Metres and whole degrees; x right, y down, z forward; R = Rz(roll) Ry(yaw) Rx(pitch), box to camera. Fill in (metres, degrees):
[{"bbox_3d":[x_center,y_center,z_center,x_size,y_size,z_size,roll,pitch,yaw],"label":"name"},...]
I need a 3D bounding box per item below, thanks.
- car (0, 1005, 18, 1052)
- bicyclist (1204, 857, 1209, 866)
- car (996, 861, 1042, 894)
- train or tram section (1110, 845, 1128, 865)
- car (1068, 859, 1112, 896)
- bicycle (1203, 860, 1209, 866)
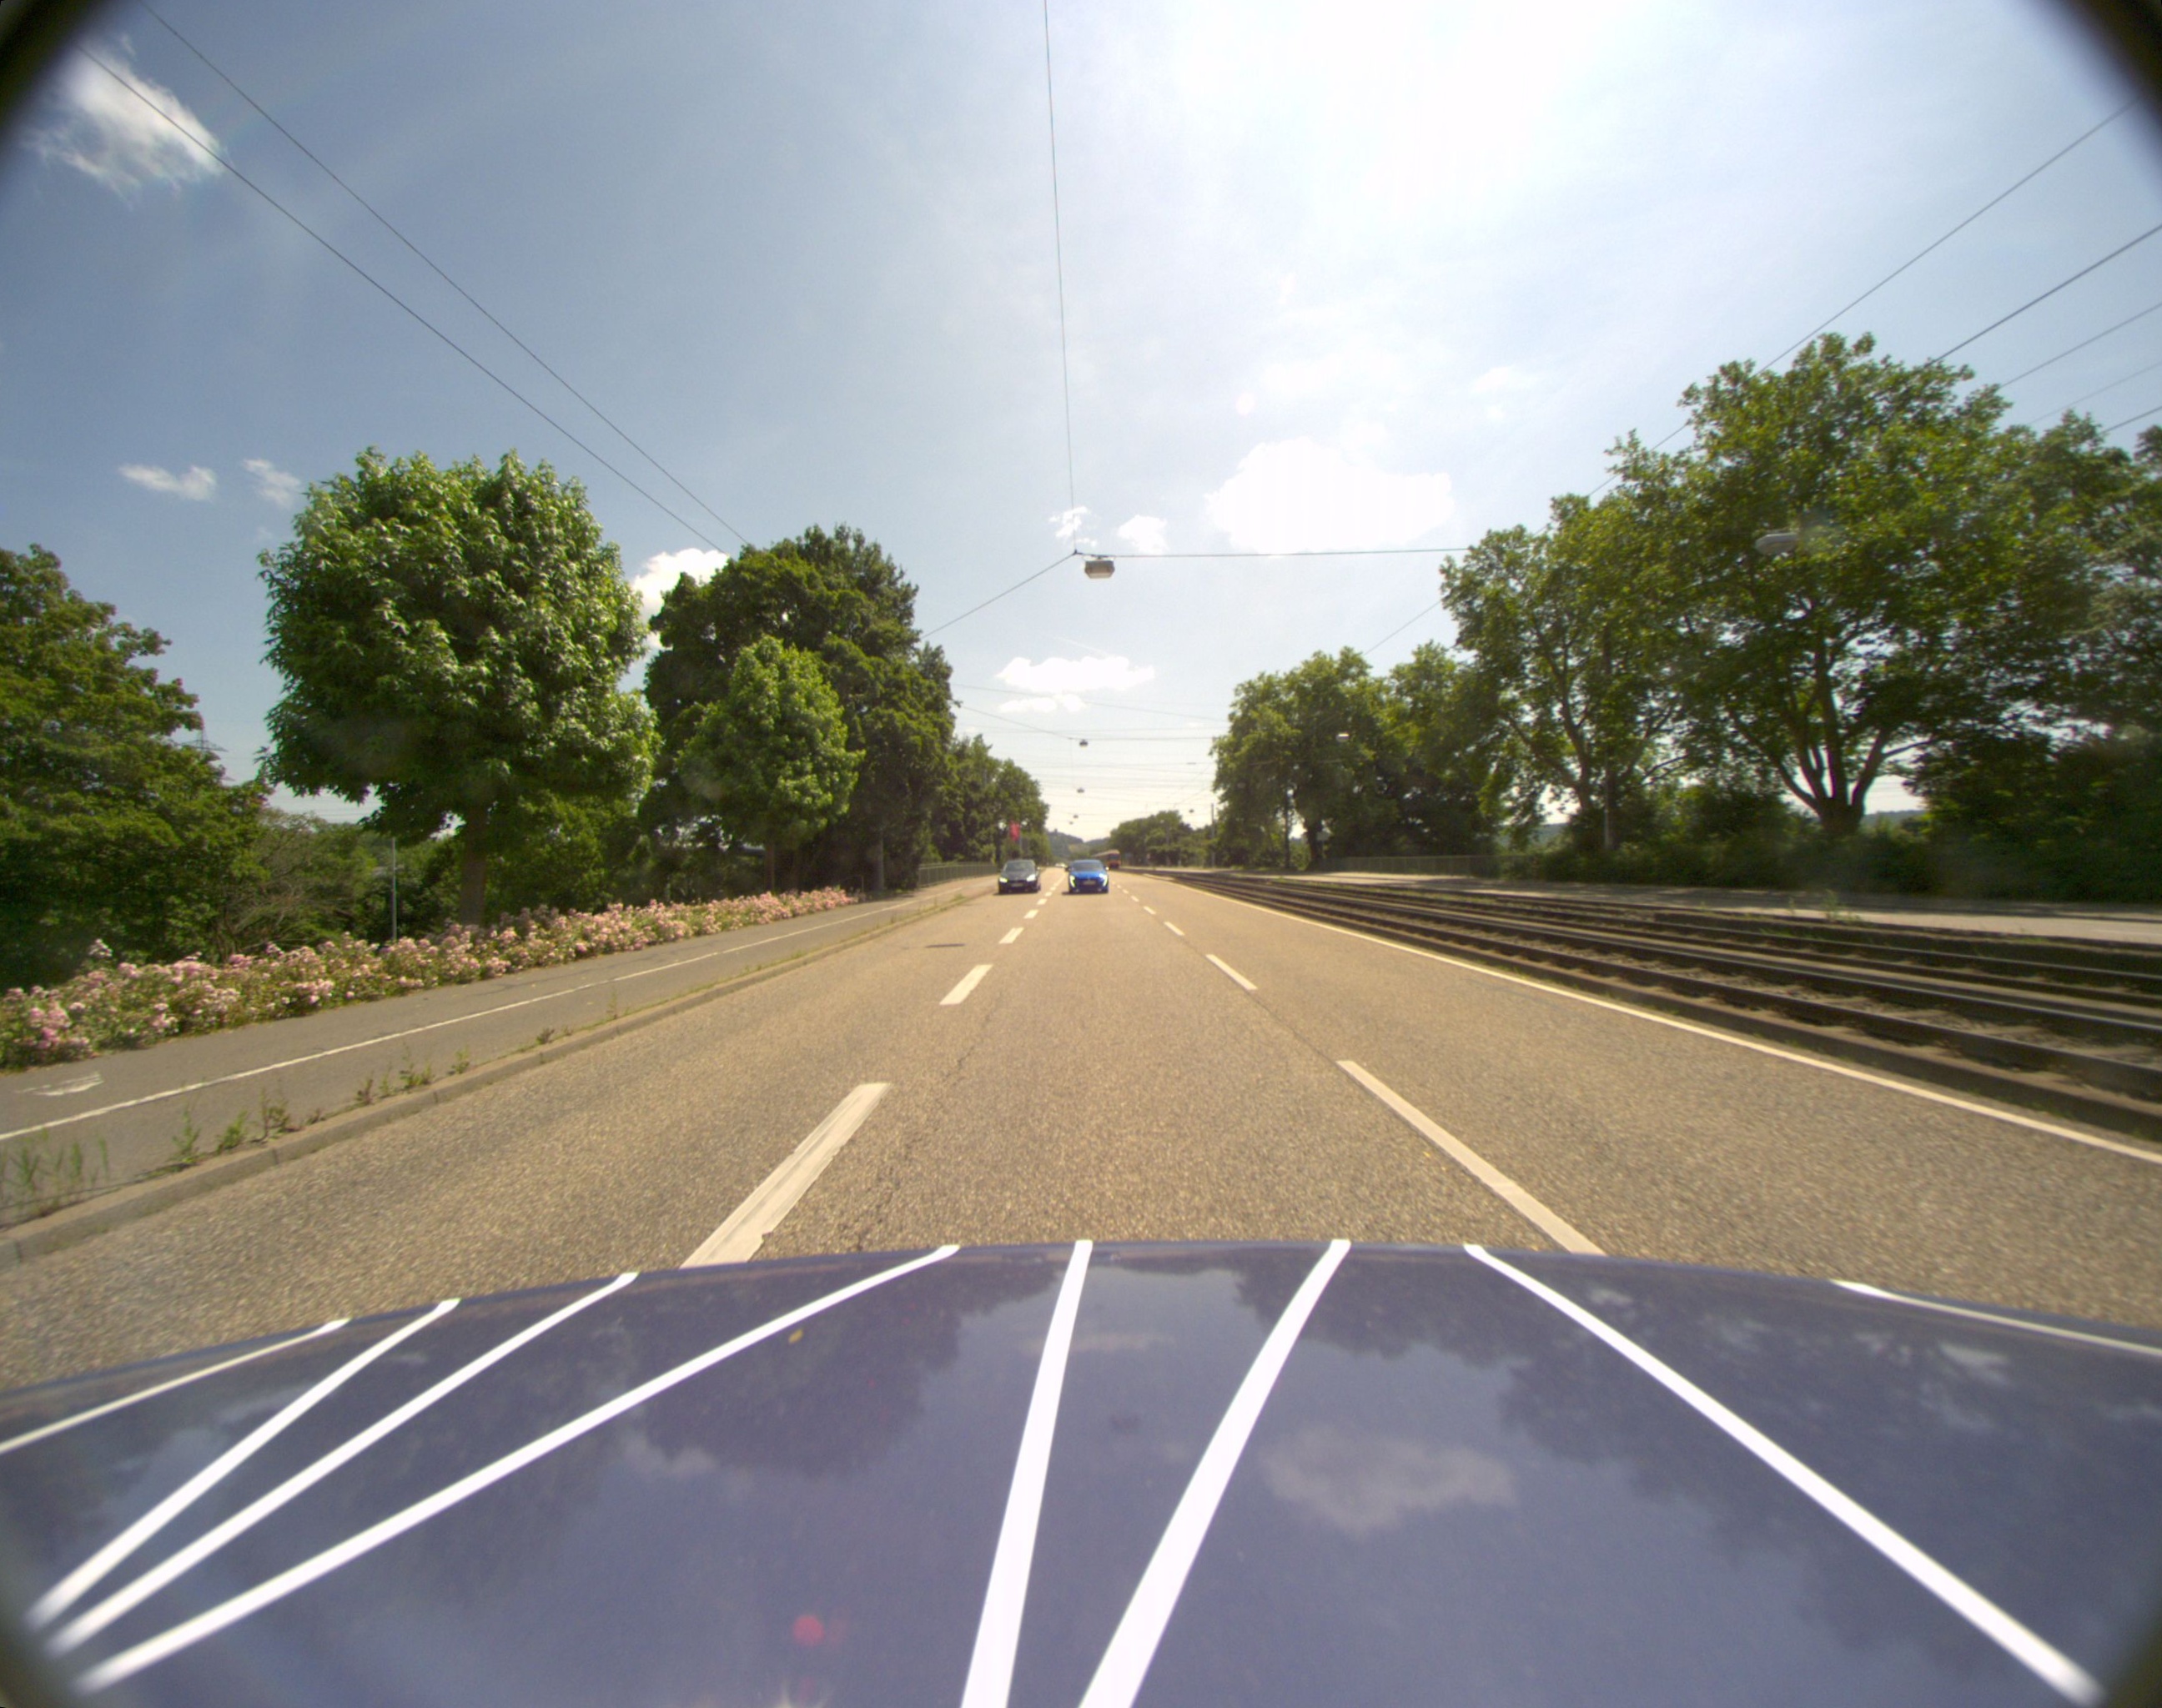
[{"bbox_3d":[-40.079,6.249,26.671,3.372,1.582,1.595,-1,-2,2],"label":"car"},{"bbox_3d":[21.398,1.336,129.839,0.712,1.475,0.918,-1,0,-1],"label":"bicyclist"},{"bbox_3d":[-2.839,1.052,35.638,1.771,1.422,4.000,-2,-1,0],"label":"car"},{"bbox_3d":[8.114,0.267,164.697,3.046,4.116,13.981,0,0,-1],"label":"train or tram section"},{"bbox_3d":[0.344,1.012,34.061,1.771,1.463,4.467,-2,-1,-1],"label":"car"},{"bbox_3d":[21.402,1.501,130.054,0.712,0.912,2.182,-1,0,-1],"label":"bicycle"}]
